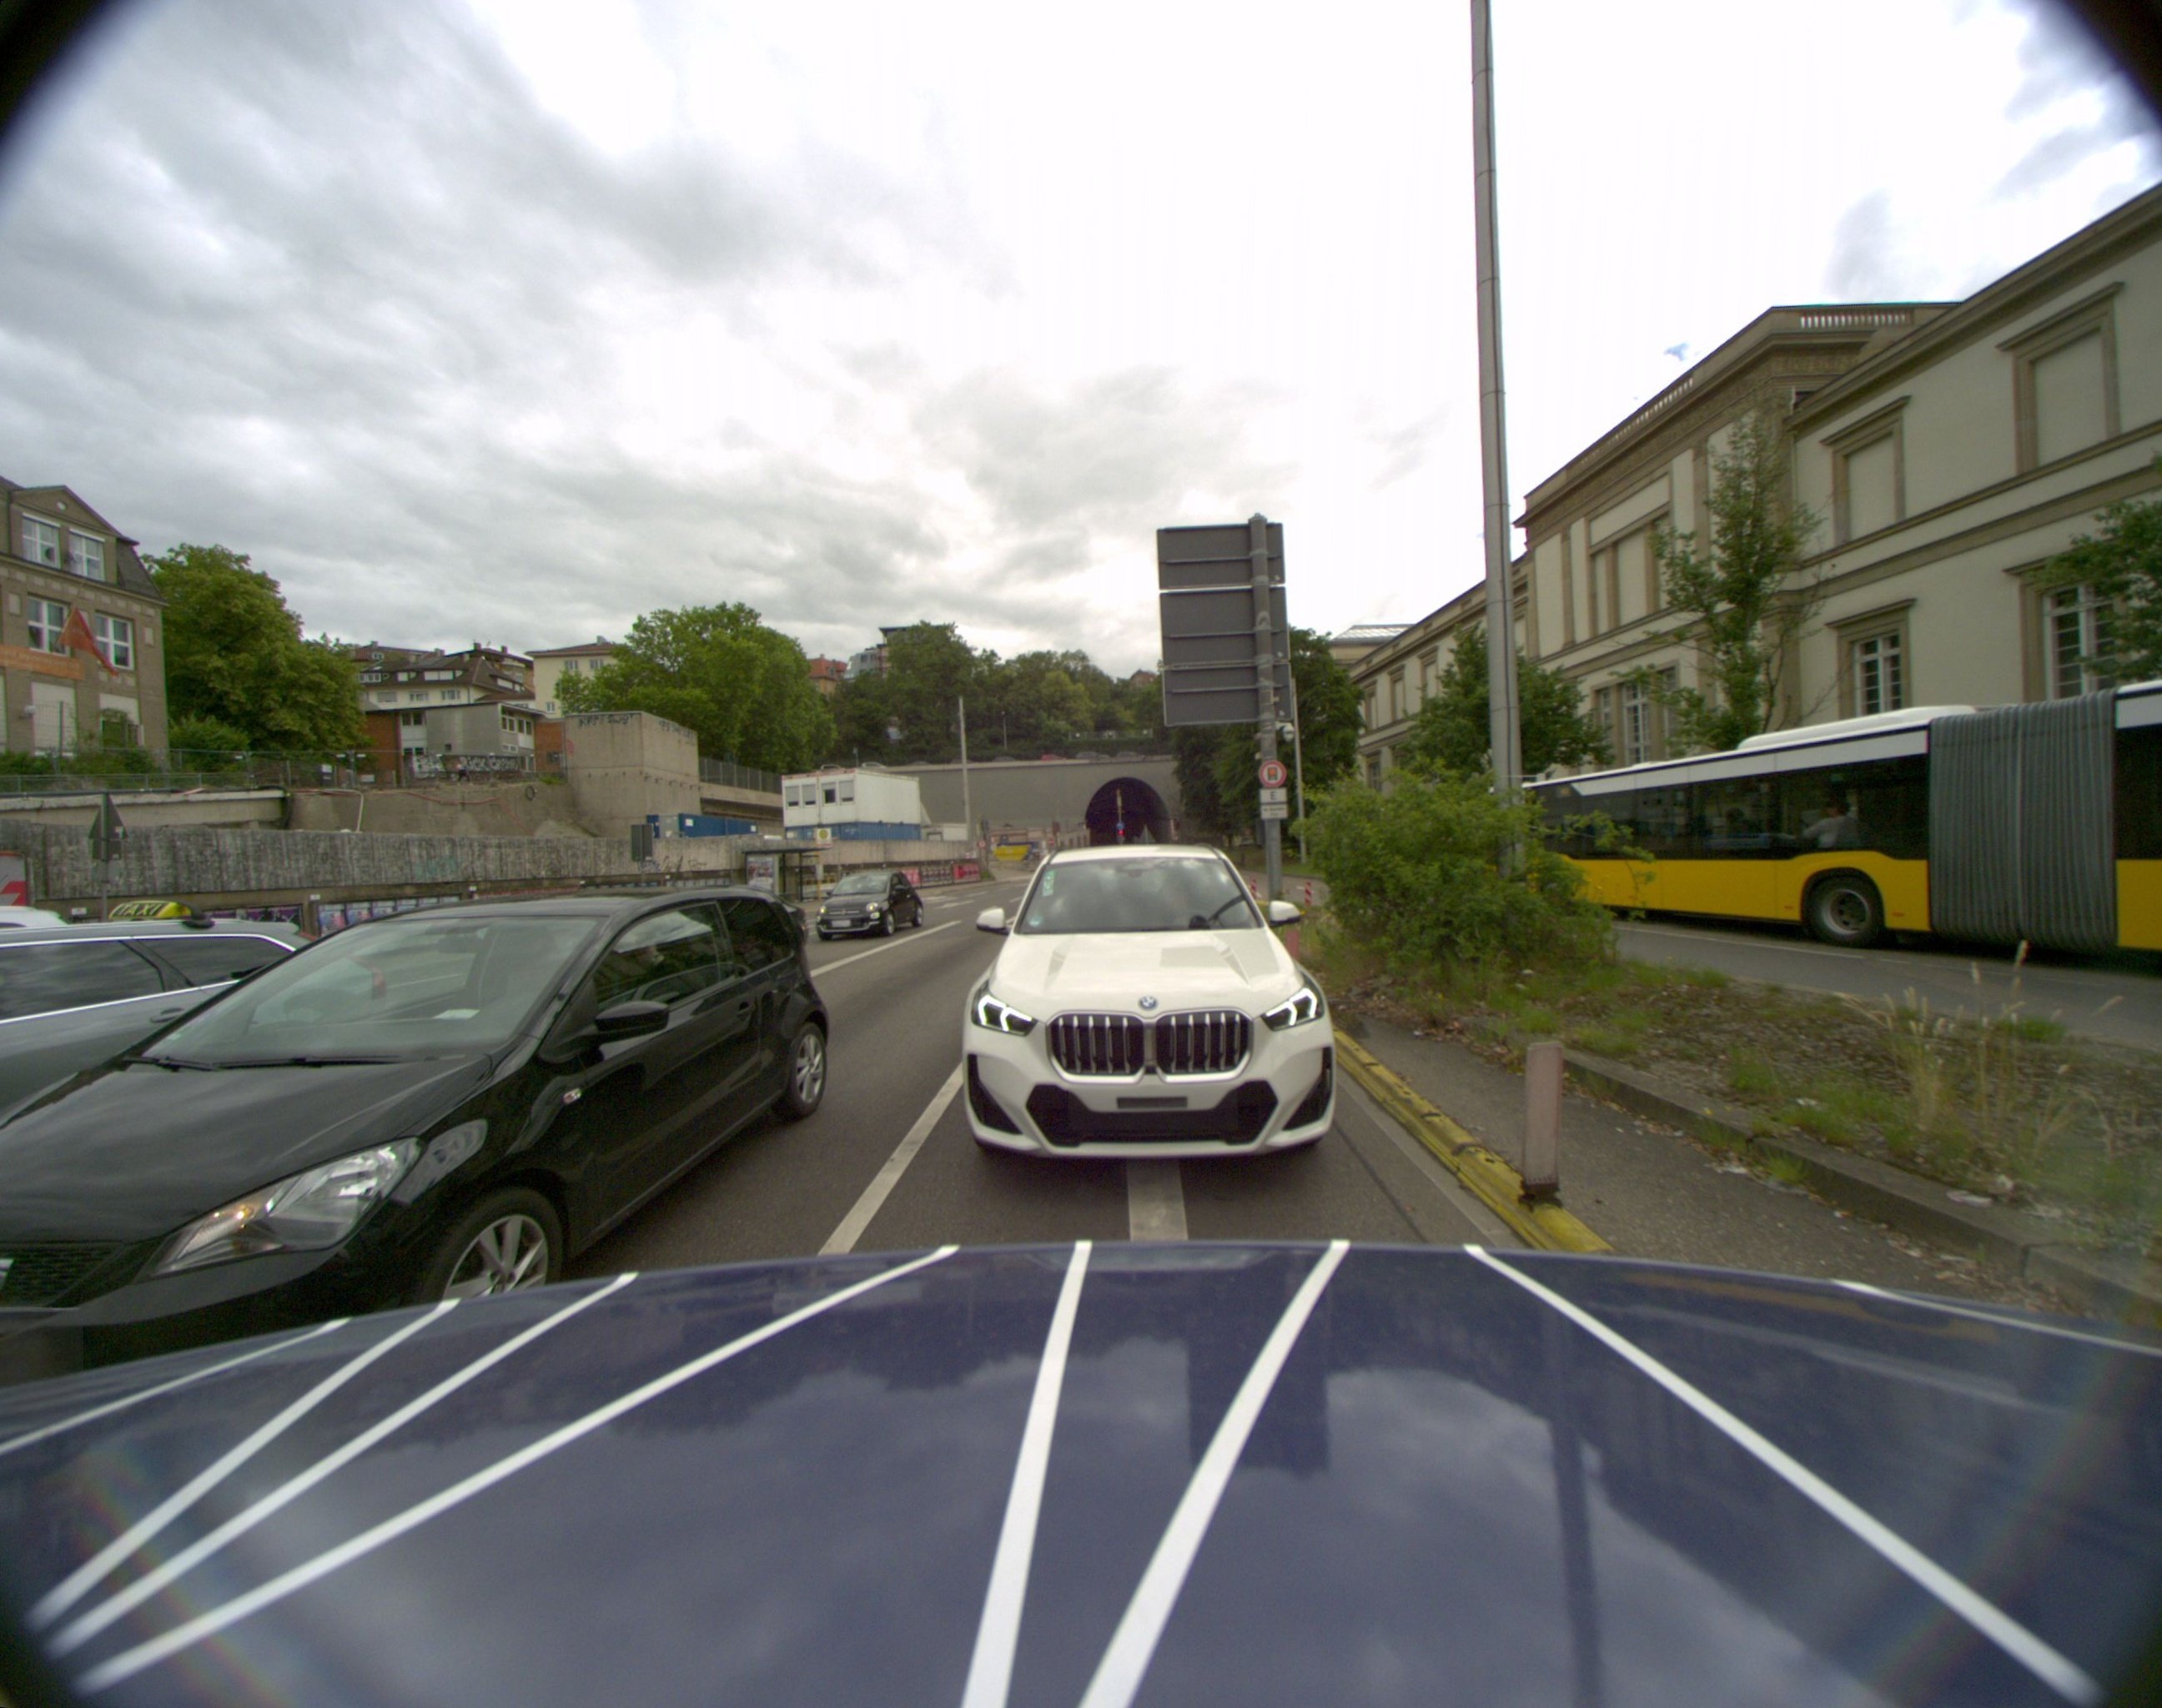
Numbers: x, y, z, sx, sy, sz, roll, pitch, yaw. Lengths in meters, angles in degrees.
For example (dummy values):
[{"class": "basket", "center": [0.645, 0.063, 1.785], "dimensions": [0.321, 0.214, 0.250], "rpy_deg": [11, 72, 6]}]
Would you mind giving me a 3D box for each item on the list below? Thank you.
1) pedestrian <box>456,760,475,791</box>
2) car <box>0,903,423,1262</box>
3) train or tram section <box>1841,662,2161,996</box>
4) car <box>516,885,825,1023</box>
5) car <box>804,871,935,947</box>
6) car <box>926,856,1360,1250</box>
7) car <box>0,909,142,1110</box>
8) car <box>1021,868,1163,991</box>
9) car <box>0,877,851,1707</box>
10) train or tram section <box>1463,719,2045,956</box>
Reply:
[{"class": "pedestrian", "center": [-36.880, -4.707, 45.534], "dimensions": [0.554, 1.784, 0.570], "rpy_deg": [-2, 1, 17]}, {"class": "car", "center": [-5.822, 1.148, 3.461], "dimensions": [1.826, 1.457, 4.217], "rpy_deg": [-2, 1, 2]}, {"class": "train or tram section", "center": [11.247, -0.247, 5.234], "dimensions": [2.700, 3.053, 9.336], "rpy_deg": [-1, 0, 0]}, {"class": "car", "center": [-5.398, 1.232, 10.766], "dimensions": [1.826, 1.356, 4.219], "rpy_deg": [-2, 0, 4]}, {"class": "car", "center": [-4.834, 1.210, 17.943], "dimensions": [1.720, 1.450, 3.782], "rpy_deg": [-3, 0, 4]}, {"class": "car", "center": [0.341, 0.853, 5.129], "dimensions": [1.756, 1.547, 3.911], "rpy_deg": [-2, 1, 3]}, {"class": "car", "center": [-9.149, 1.263, 4.585], "dimensions": [1.826, 1.457, 4.073], "rpy_deg": [-2, 1, 0]}, {"class": "car", "center": [0.223, 0.997, 11.605], "dimensions": [1.756, 1.427, 3.911], "rpy_deg": [-2, 0, 3]}, {"class": "car", "center": [-2.527, 0.984, 3.281], "dimensions": [1.661, 1.547, 3.911], "rpy_deg": [-2, 1, 3]}, {"class": "train or tram section", "center": [11.152, -0.219, 14.592], "dimensions": [2.701, 3.053, 9.375], "rpy_deg": [-1, 0, -1]}]
